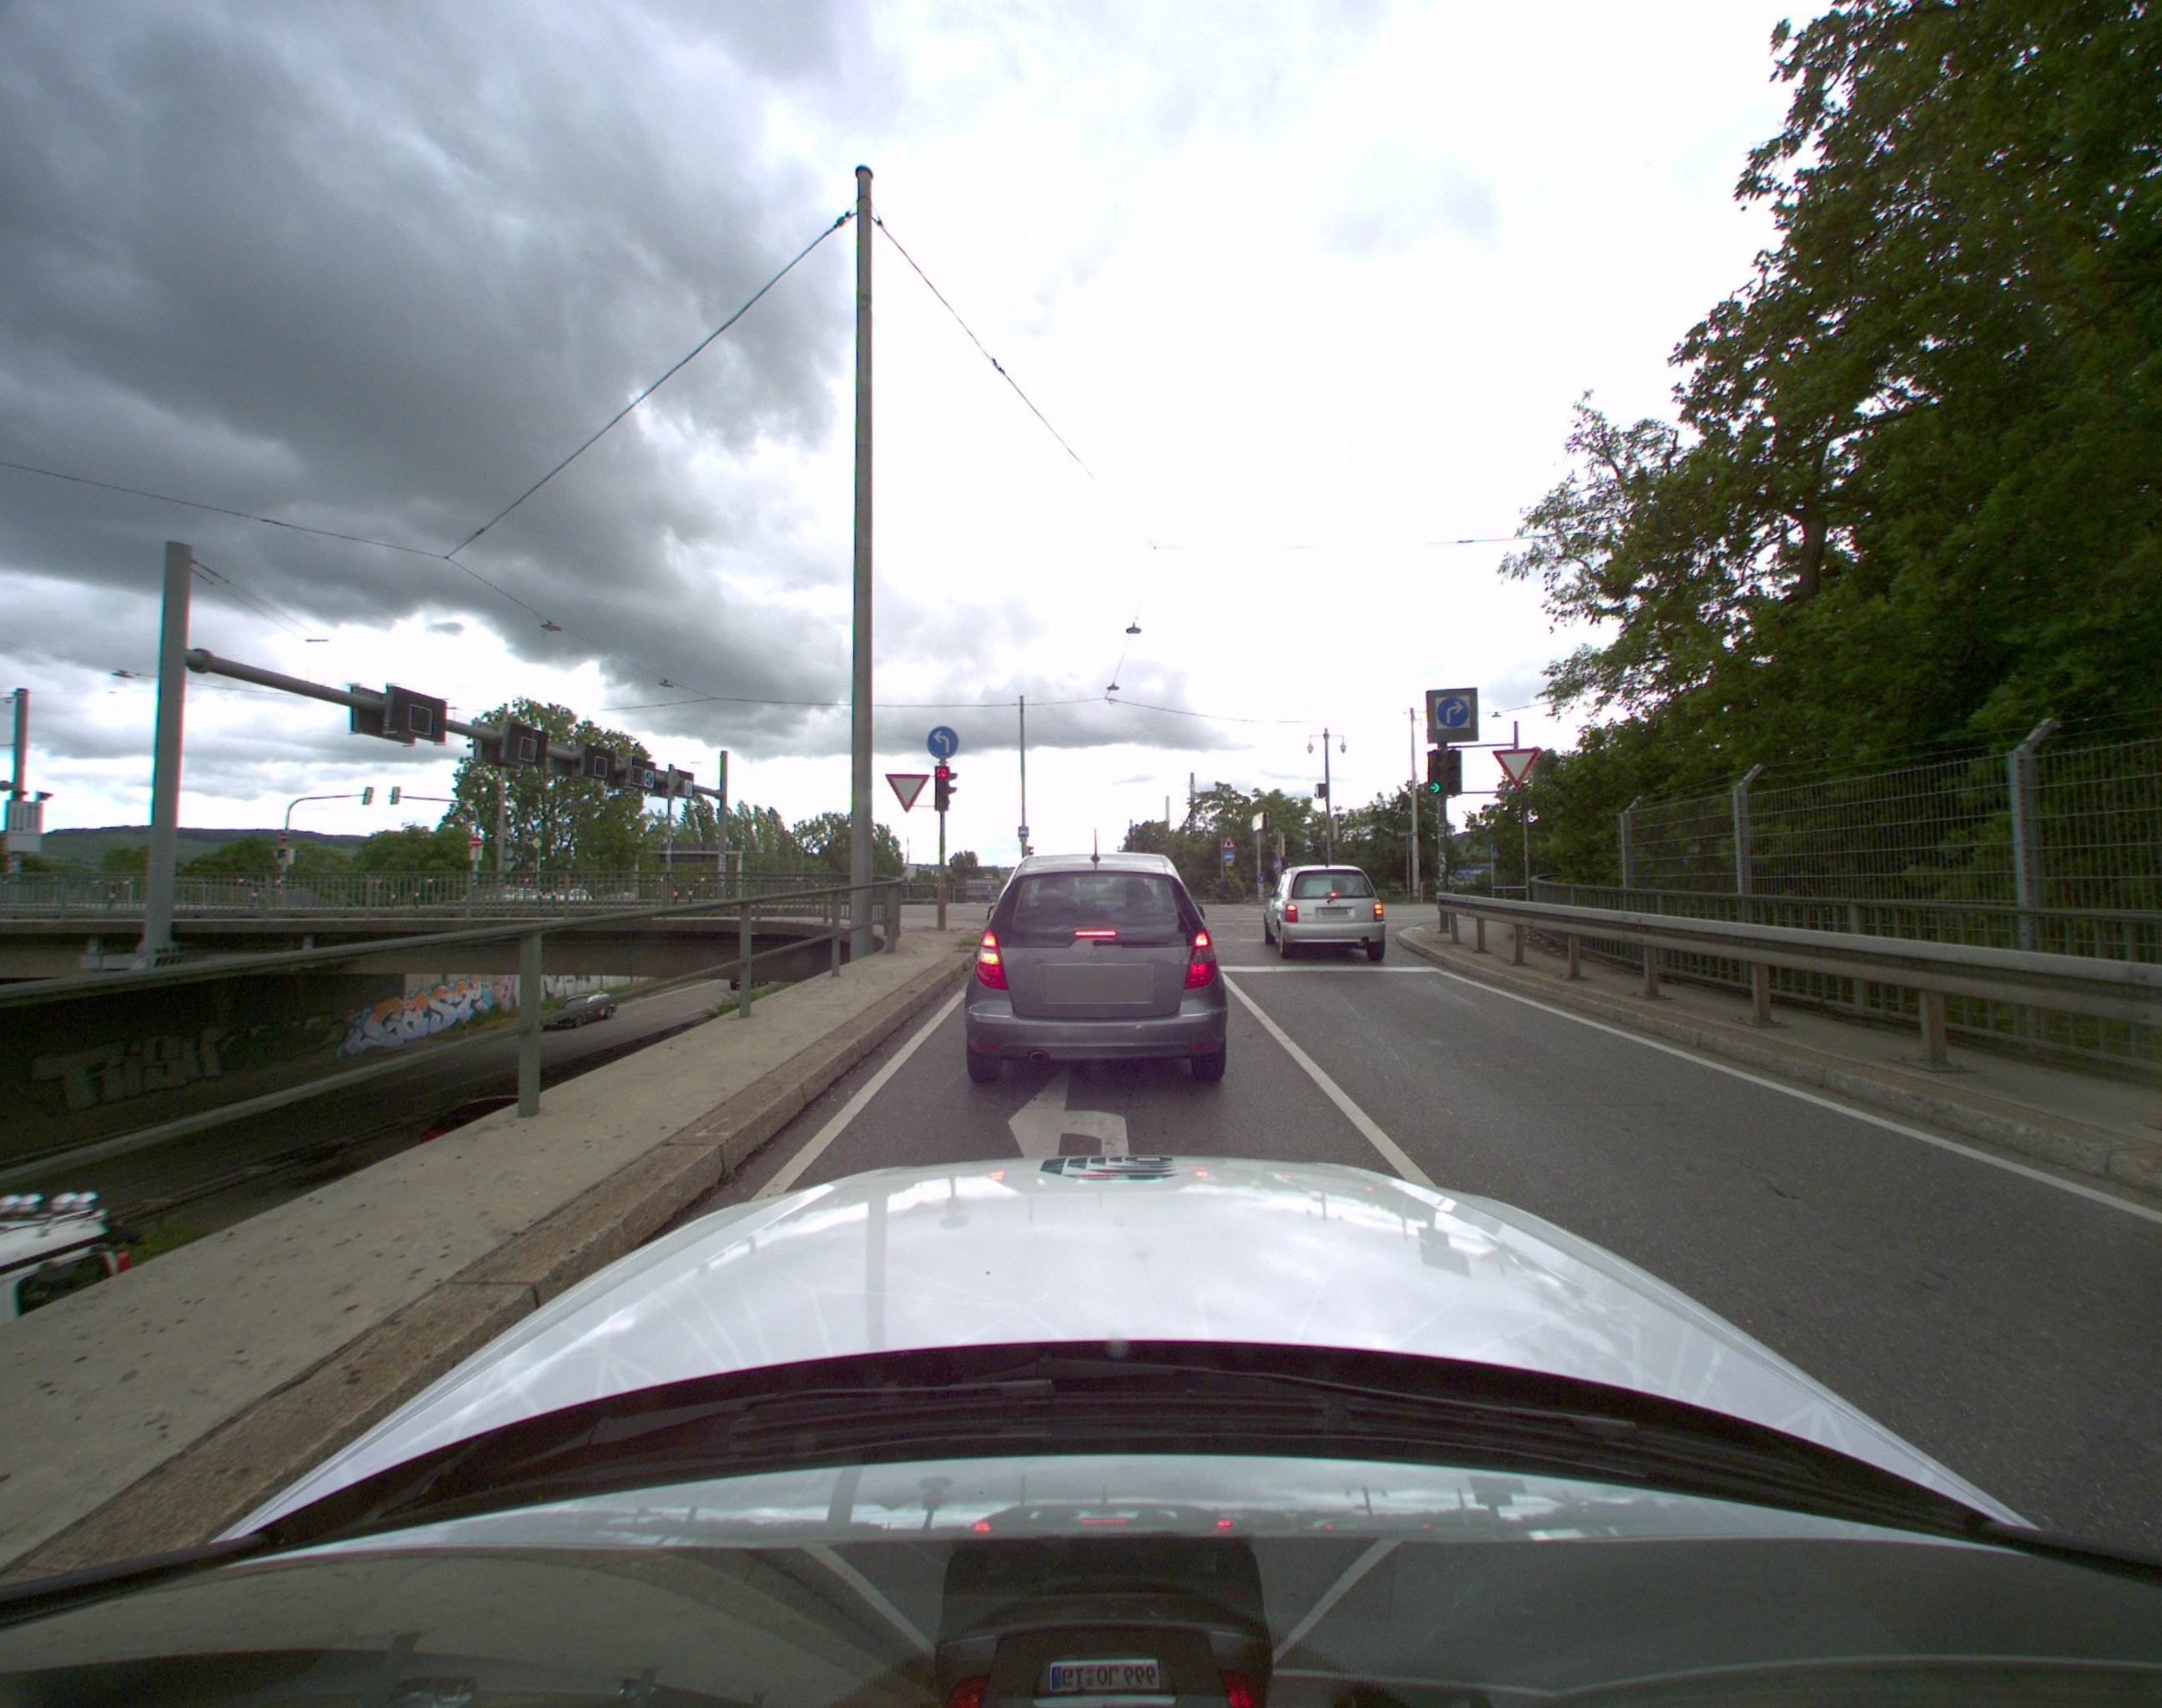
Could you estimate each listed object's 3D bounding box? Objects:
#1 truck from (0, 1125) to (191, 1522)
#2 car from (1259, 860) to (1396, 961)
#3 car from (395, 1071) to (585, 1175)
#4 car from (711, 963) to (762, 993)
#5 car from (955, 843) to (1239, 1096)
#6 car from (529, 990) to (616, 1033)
[{"bbox_3d":[-12.753,5.035,5.265,2.871,3.526,9.875,-3,-3,2],"label":"truck"},{"bbox_3d":[3.937,0.838,13.500,1.577,1.431,3.449,-1,0,7],"label":"car"},{"bbox_3d":[-15.568,7.063,21.793,1.822,1.579,4.185,-1,-3,3],"label":"car"},{"bbox_3d":[-25.736,9.232,60.936,1.875,1.719,4.183,-2,-3,2],"label":"car"},{"bbox_3d":[0.158,0.726,6.777,1.733,1.543,3.542,0,-1,2],"label":"car"},{"bbox_3d":[-28.164,8.700,45.307,1.853,1.652,4.634,-2,-3,2],"label":"car"}]
